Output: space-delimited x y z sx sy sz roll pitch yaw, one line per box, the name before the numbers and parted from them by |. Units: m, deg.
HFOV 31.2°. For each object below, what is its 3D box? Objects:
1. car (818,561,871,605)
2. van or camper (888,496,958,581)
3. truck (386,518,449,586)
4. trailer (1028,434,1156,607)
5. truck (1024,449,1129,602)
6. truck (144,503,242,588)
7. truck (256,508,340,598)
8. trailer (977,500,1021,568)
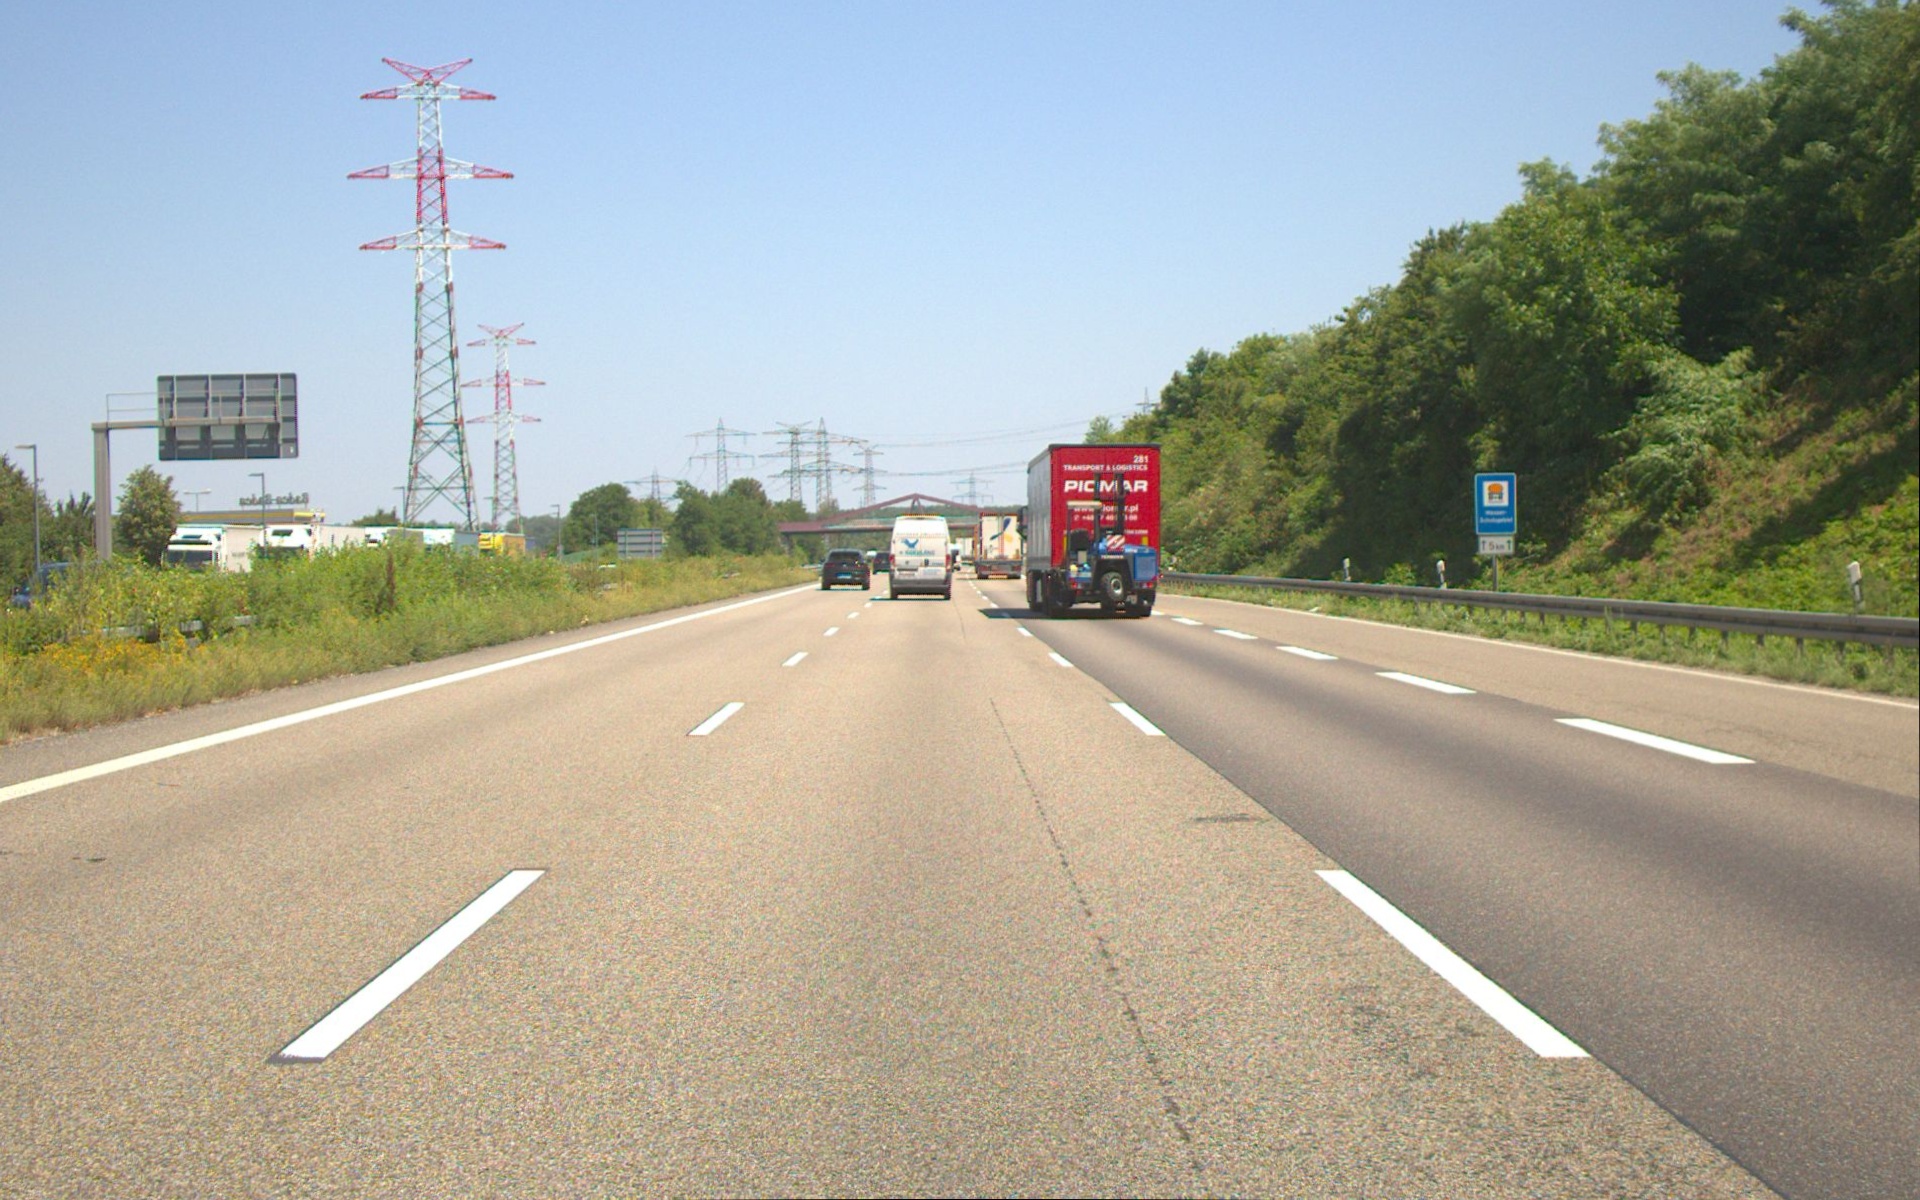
car | -4.877 -0.743 145.564 1.982 1.811 3.812 1 1 2
van or camper | -1.220 -2.047 115.290 2.230 2.772 5.423 1 1 0
truck | -33.335 -2.957 211.590 2.849 4.059 7.090 1 1 -1
trailer | 3.099 -1.870 84.433 2.490 3.896 14.246 0 1 0
truck | 3.046 -1.956 91.473 2.499 3.906 7.097 0 1 0
truck | -38.530 -2.739 172.930 3.095 4.138 8.317 1 1 -1
truck | -31.708 -2.238 164.921 2.581 4.174 7.937 0 1 -1
trailer | 2.444 -4.053 213.422 2.637 4.046 12.366 1 1 1
